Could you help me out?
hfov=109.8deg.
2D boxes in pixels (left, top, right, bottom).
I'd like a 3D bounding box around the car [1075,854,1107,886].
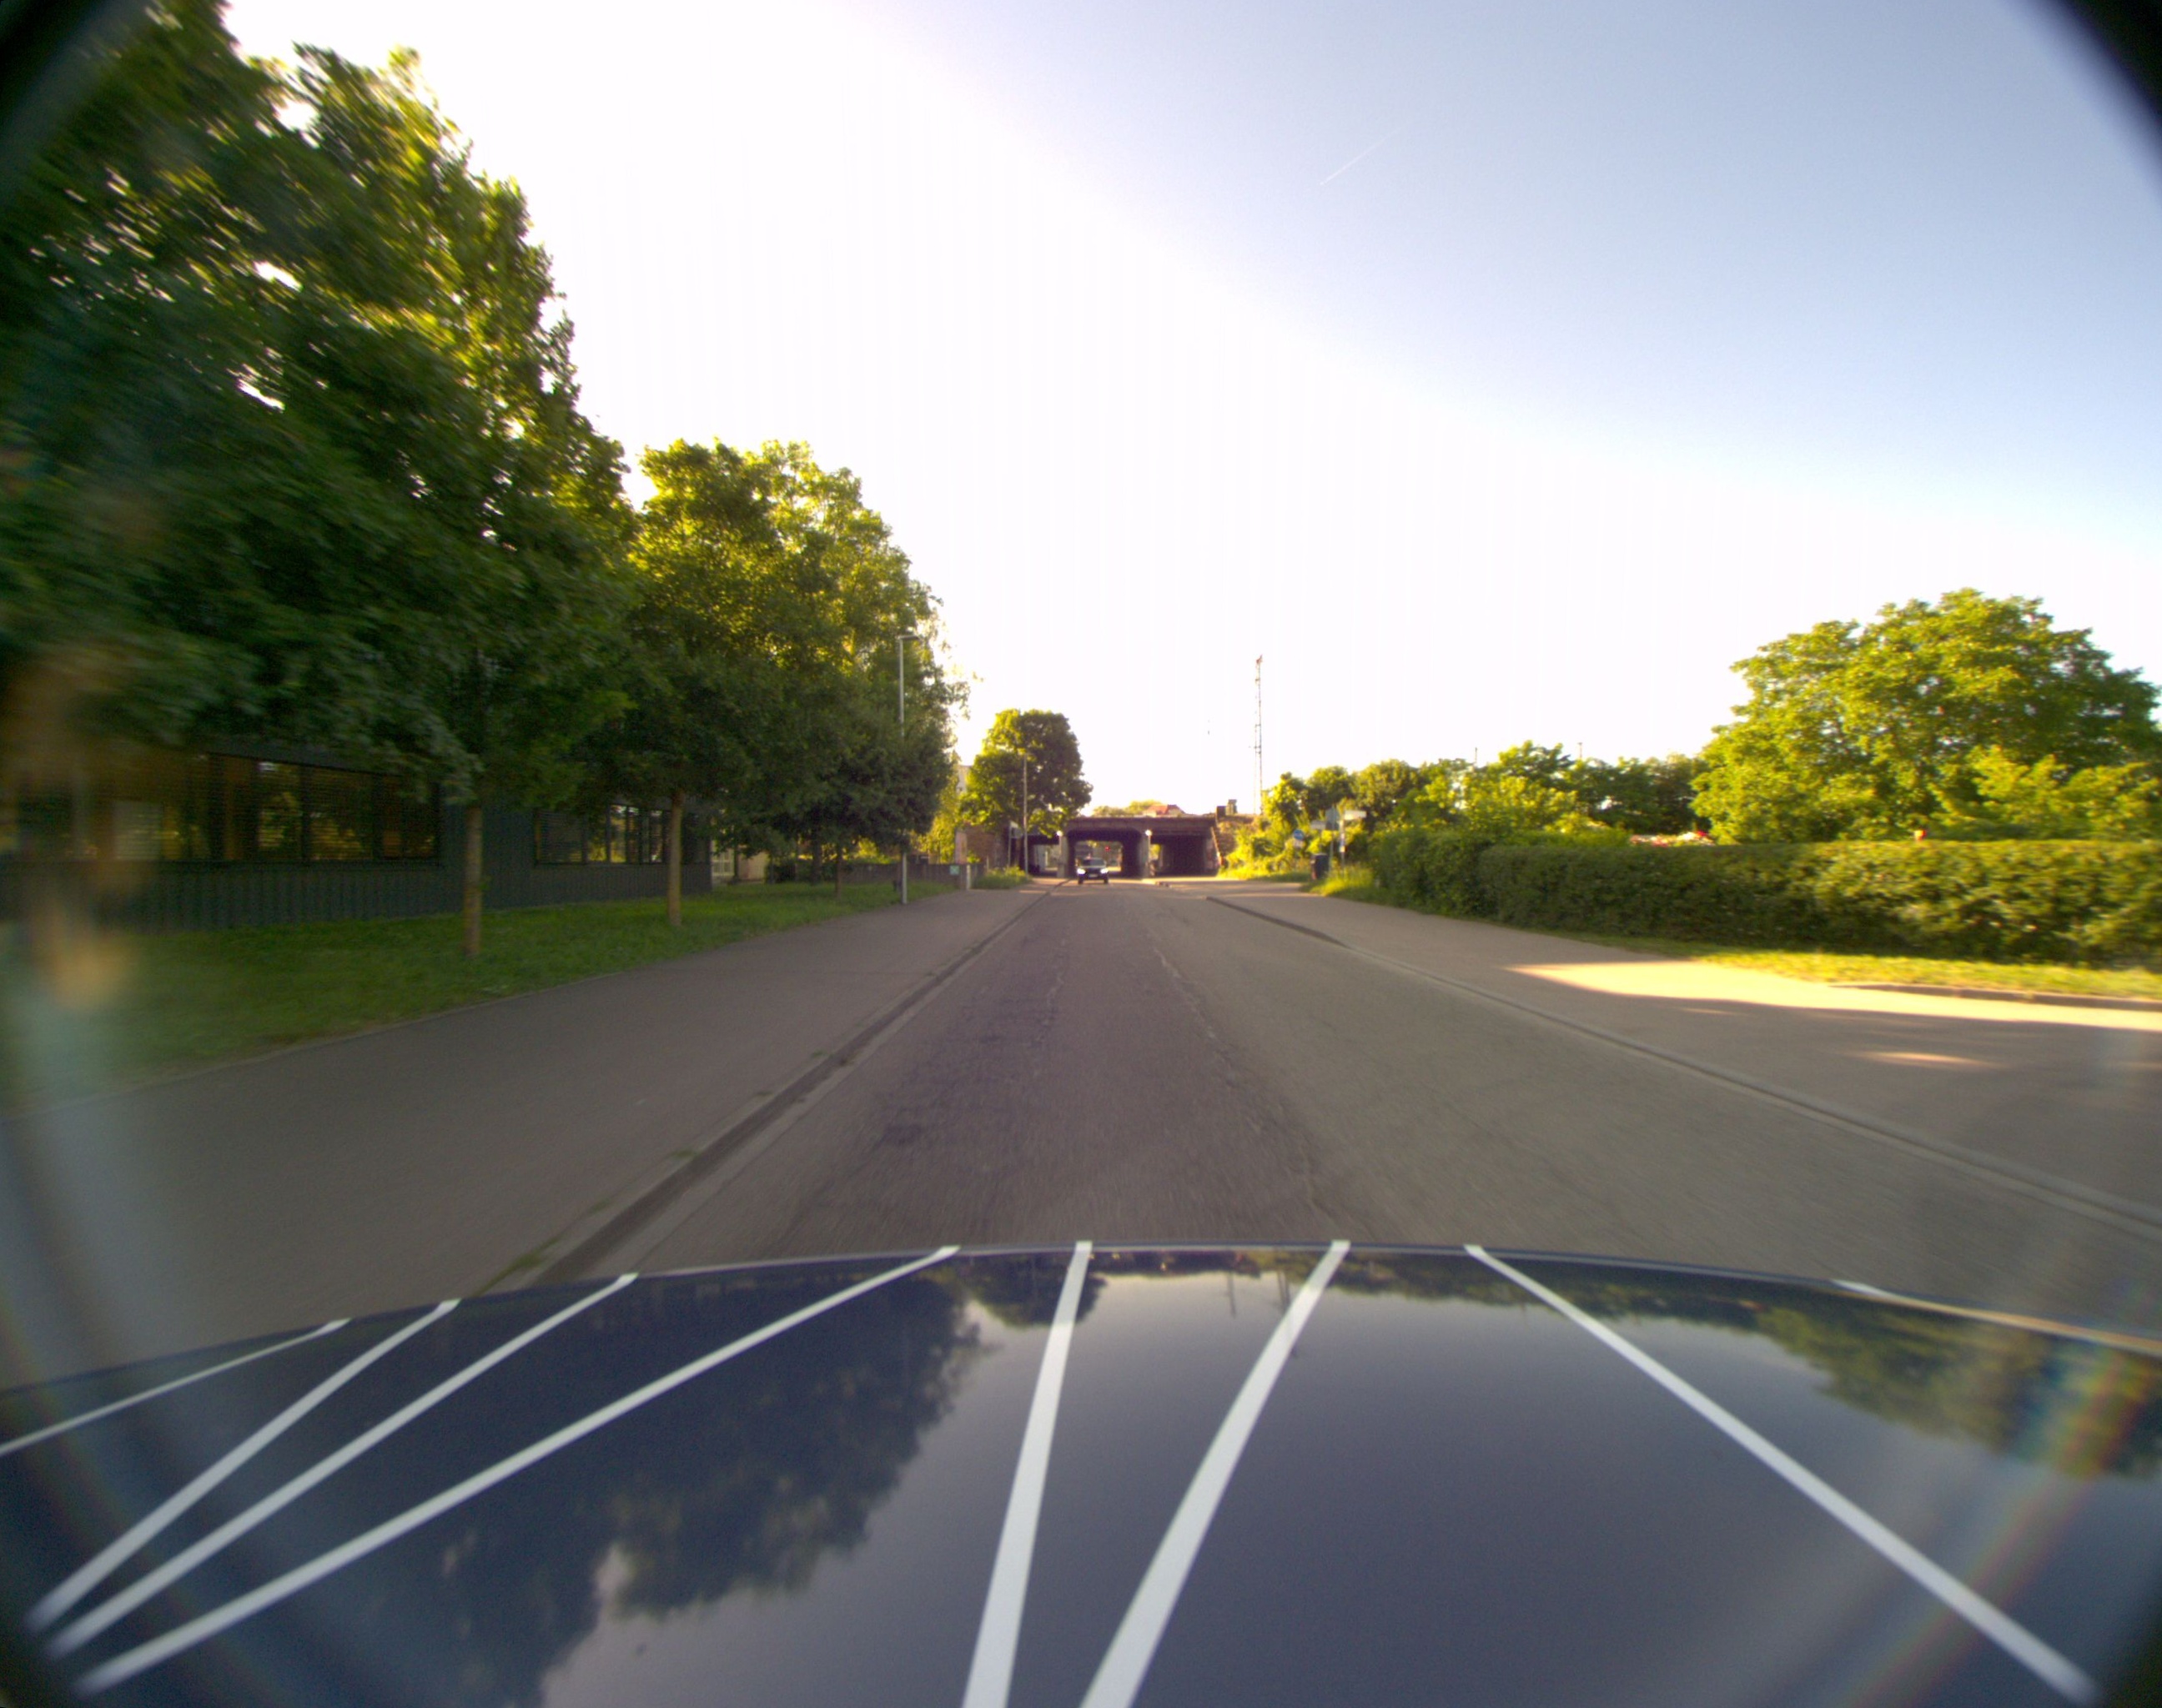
[{"bbox_3d":[0.704,1.017,49.022,1.940,1.922,4.525,1,0,2],"label":"car"}]
